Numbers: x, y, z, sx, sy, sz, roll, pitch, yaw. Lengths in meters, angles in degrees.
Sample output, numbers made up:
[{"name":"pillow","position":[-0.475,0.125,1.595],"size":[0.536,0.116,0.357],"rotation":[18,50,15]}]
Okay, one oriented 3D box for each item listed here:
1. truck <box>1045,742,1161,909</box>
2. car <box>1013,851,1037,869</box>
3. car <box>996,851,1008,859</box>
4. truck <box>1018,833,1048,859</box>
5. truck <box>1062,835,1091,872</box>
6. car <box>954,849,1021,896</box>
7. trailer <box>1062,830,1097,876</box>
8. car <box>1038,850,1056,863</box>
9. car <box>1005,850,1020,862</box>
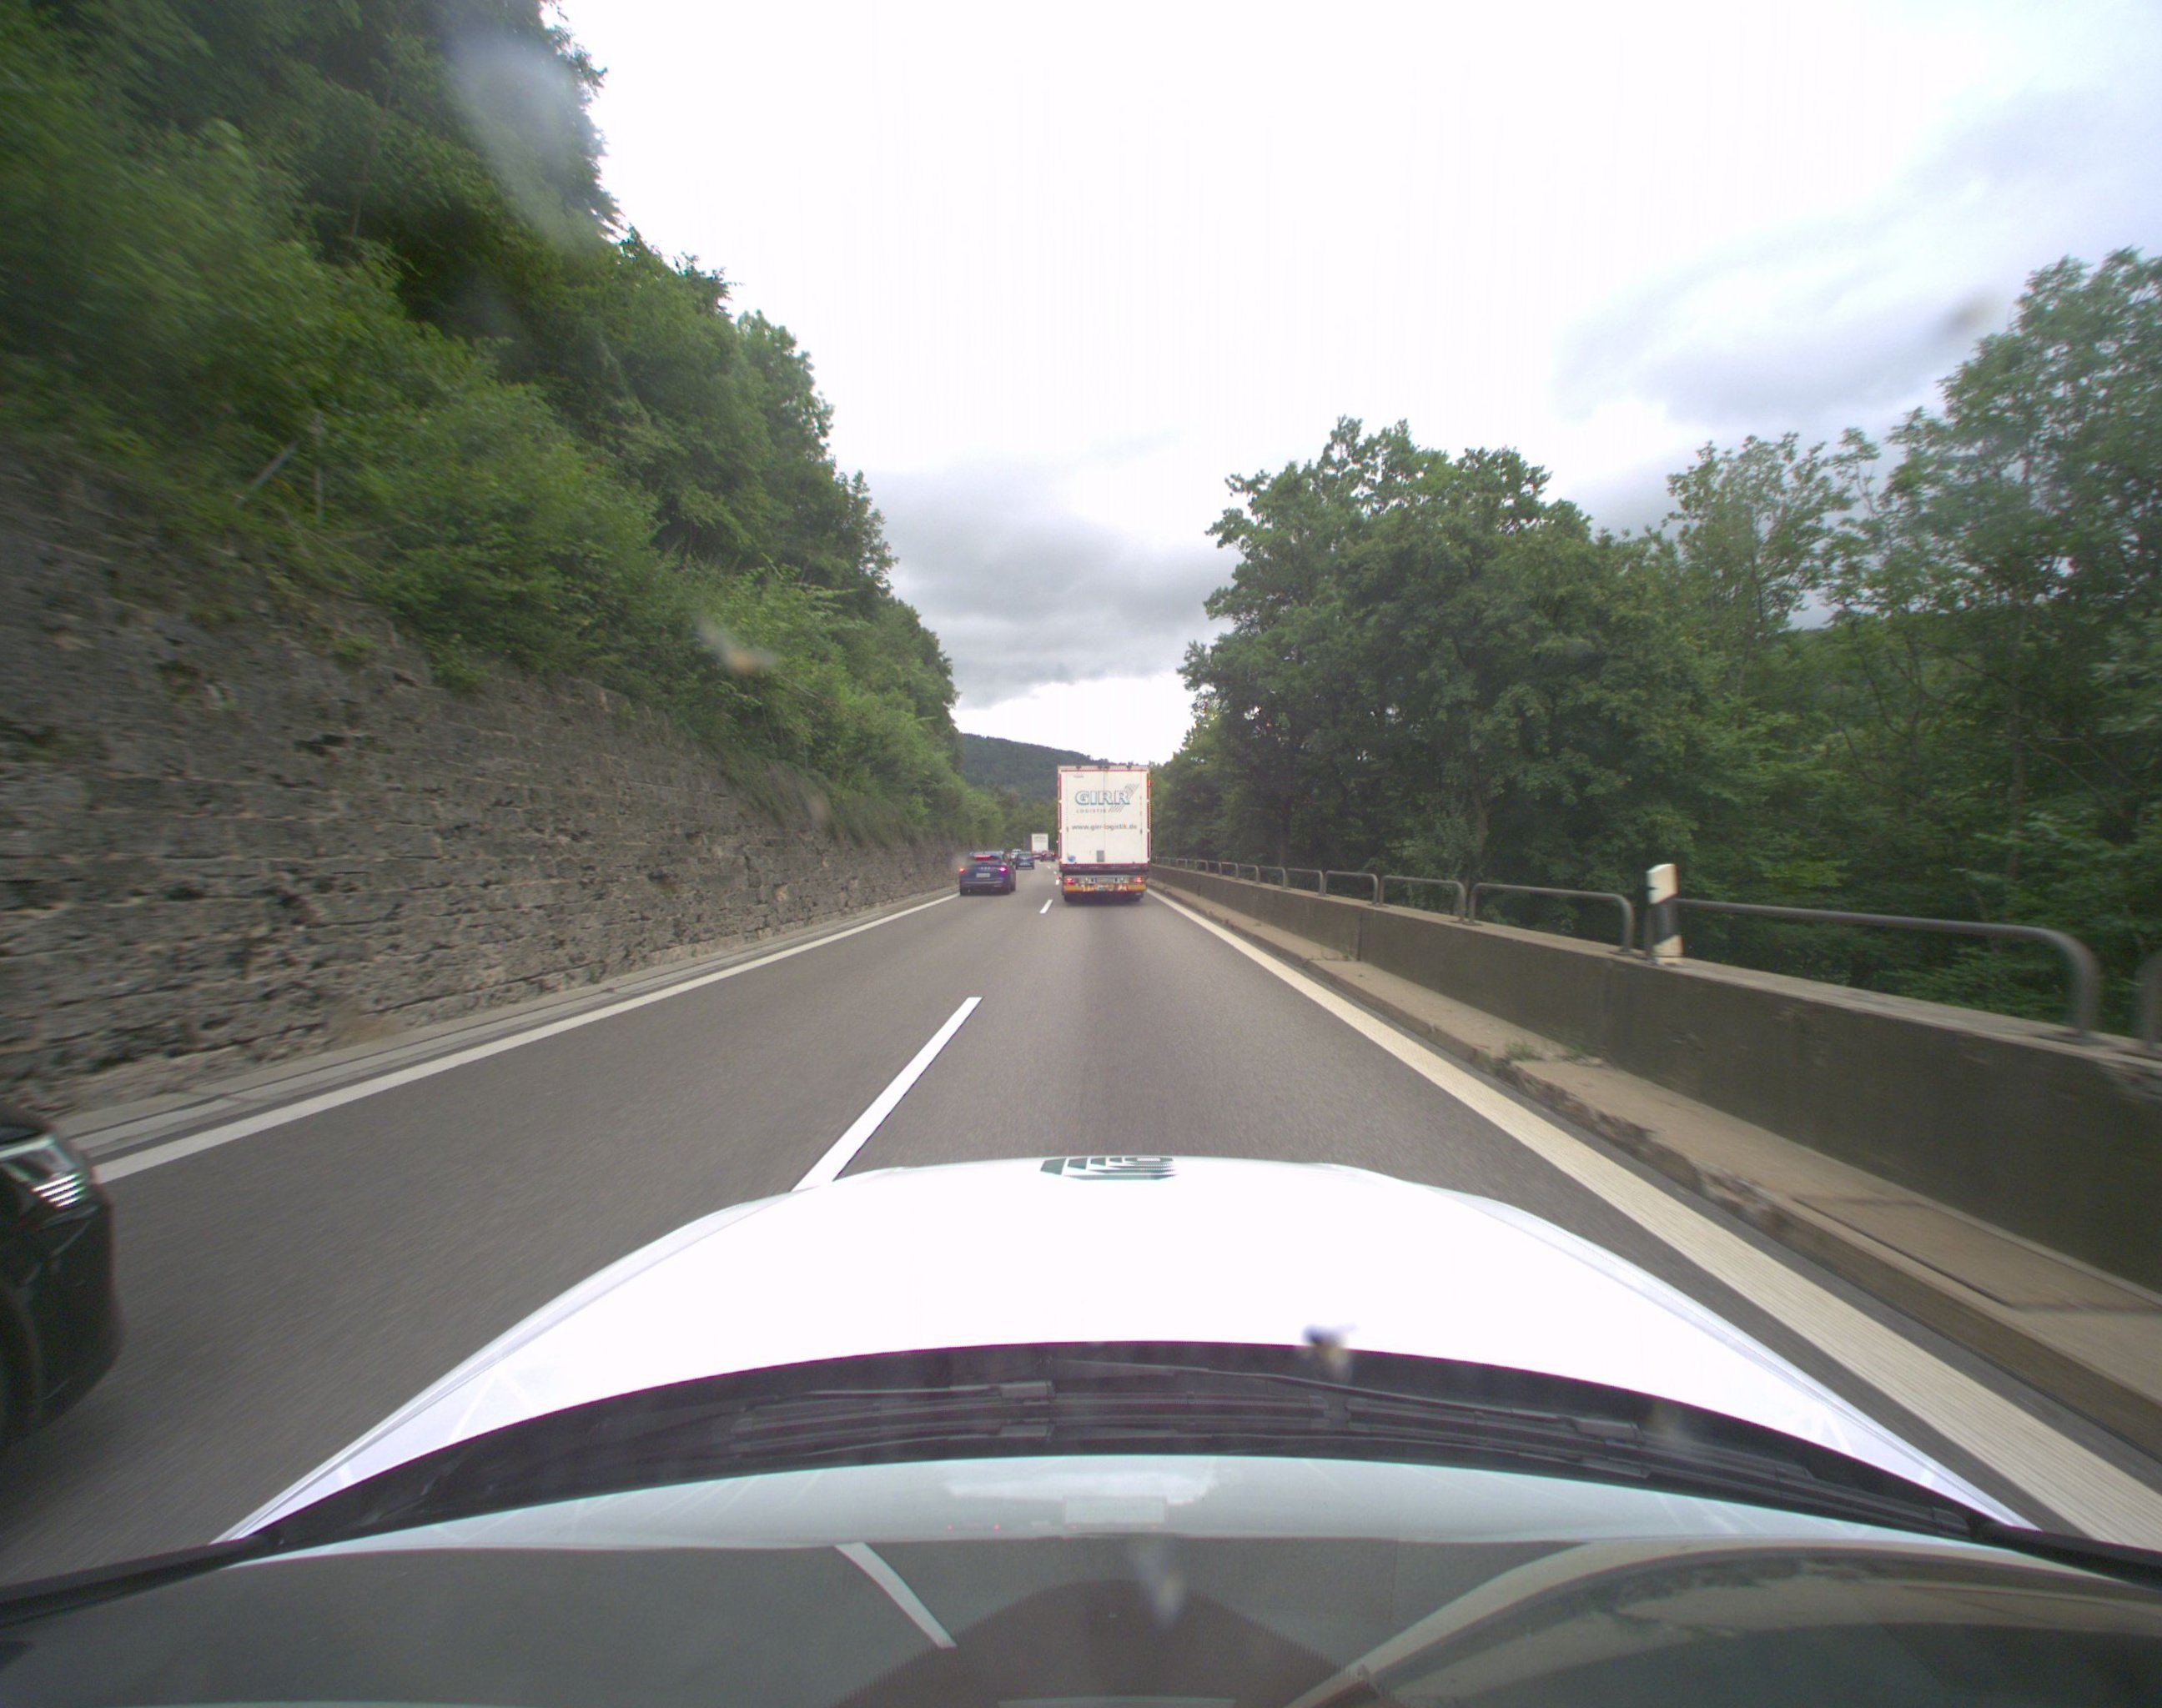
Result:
[{"name":"truck","position":[0.695,-0.818,29.772],"size":[3.074,4.464,15.156],"rotation":[-1,0,1]},{"name":"car","position":[-4.856,0.512,71.145],"size":[1.989,1.596,4.348],"rotation":[0,0,-4]},{"name":"car","position":[-14.825,0.157,152.566],"size":[1.898,1.550,4.231],"rotation":[0,0,-12]},{"name":"truck","position":[-7.628,-1.258,127.648],"size":[2.637,3.857,12.303],"rotation":[-1,0,-13]},{"name":"truck","position":[-0.417,-0.039,64.839],"size":[2.203,2.851,5.001],"rotation":[0,0,-2]},{"name":"car","position":[-3.497,0.654,31.356],"size":[1.987,1.632,5.008],"rotation":[-1,0,0]},{"name":"trailer","position":[-0.238,-0.093,59.422],"size":[2.206,3.048,11.130],"rotation":[0,0,-2]},{"name":"car","position":[-4.426,0.269,106.529],"size":[2.058,1.654,3.990],"rotation":[-1,0,-7]},{"name":"car","position":[-9.530,0.279,112.796],"size":[1.895,1.550,4.238],"rotation":[0,0,-8]}]
